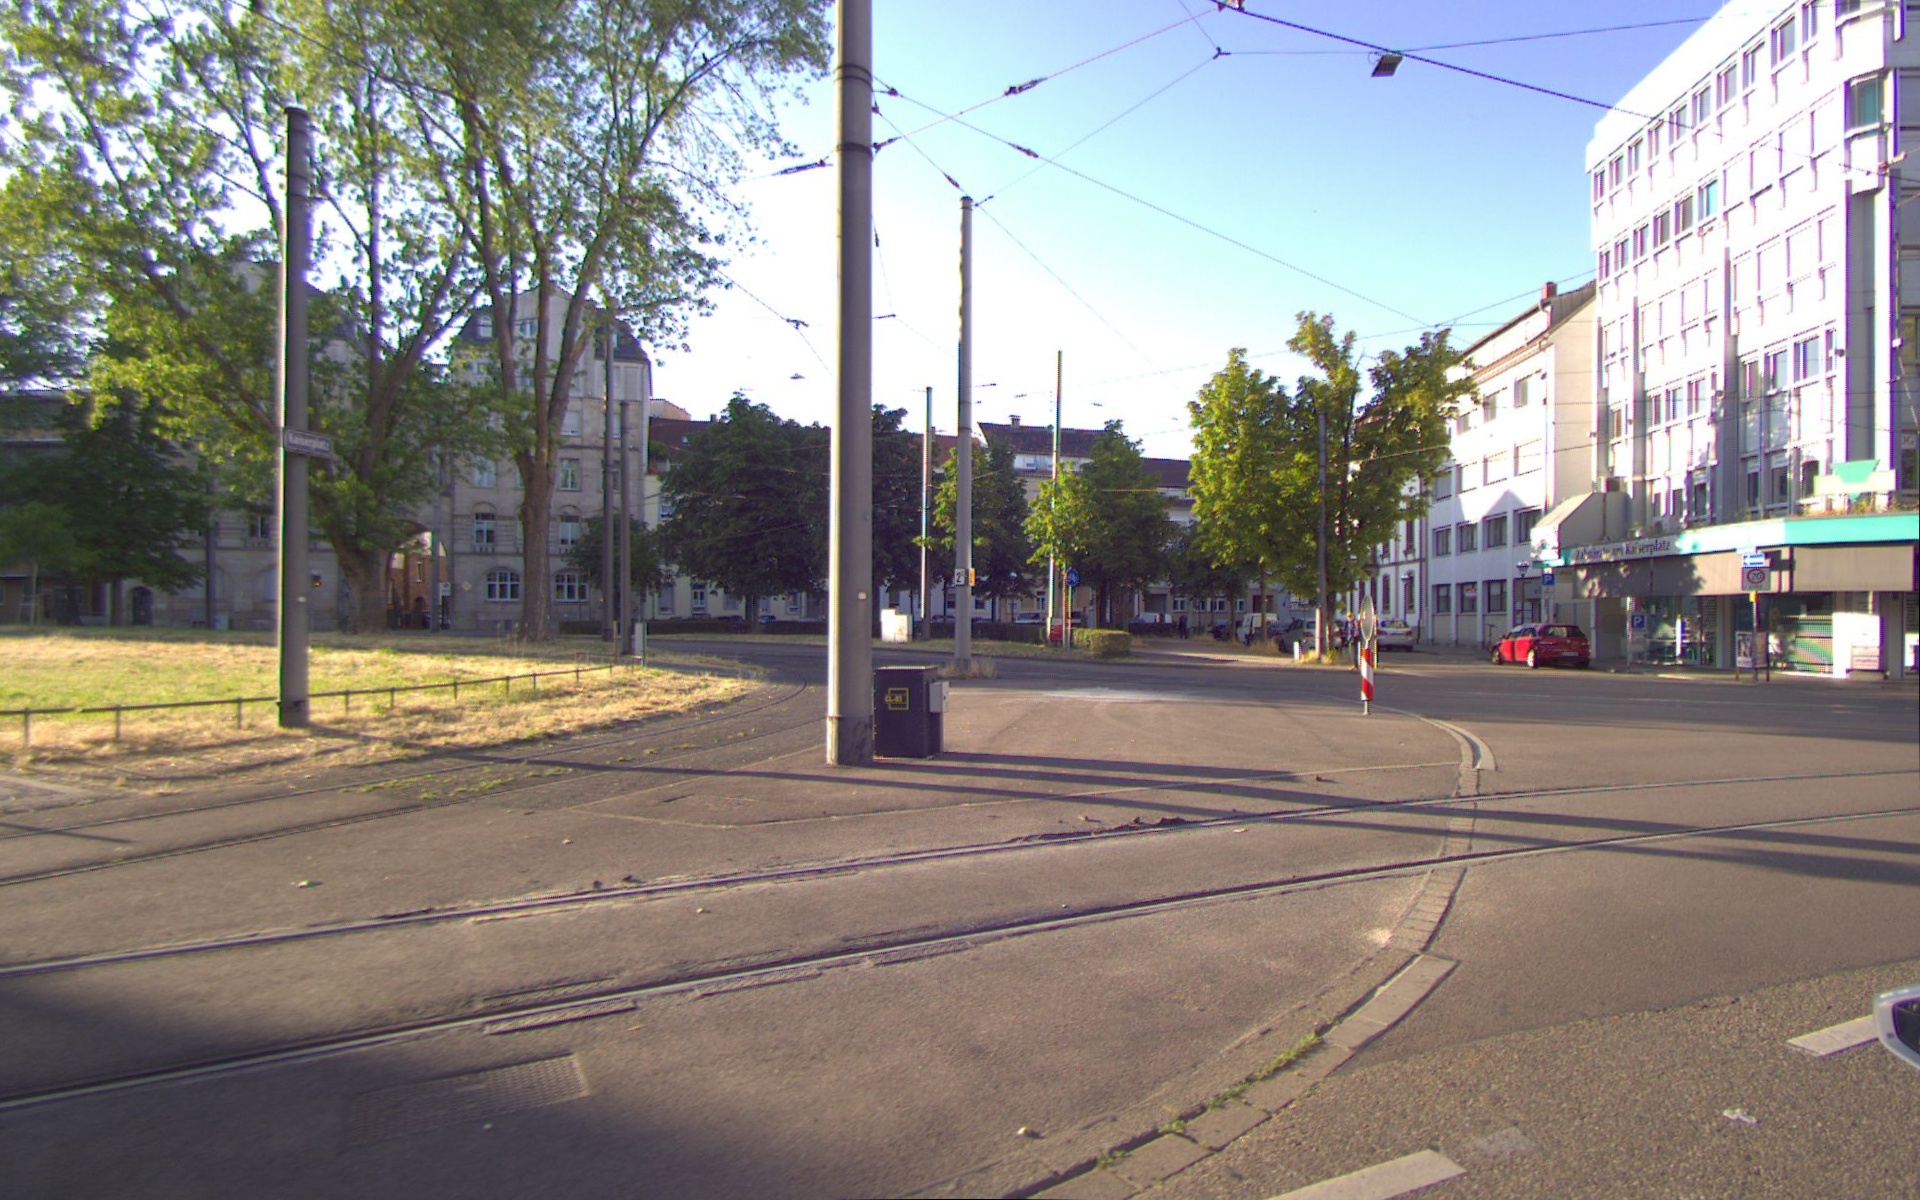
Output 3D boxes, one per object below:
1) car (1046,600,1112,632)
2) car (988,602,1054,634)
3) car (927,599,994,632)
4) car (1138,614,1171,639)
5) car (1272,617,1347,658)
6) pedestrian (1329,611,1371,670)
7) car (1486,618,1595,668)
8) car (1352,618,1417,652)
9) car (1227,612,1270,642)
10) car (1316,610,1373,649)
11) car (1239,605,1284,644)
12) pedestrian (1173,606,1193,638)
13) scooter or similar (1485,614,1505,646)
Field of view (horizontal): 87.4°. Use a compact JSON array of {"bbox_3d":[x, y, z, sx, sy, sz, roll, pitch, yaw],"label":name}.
[{"bbox_3d":[7.909,1.061,66.944,3.932,2.040,1.994,1,0,-14],"label":"car"},{"bbox_3d":[3.984,1.167,65.876,3.932,2.040,1.994,1,0,-14],"label":"car"},{"bbox_3d":[-0.001,0.984,64.763,3.932,2.040,1.994,1,0,-14],"label":"car"},{"bbox_3d":[16.375,2.179,84.747,1.960,2.040,4.000,1,-1,0],"label":"car"},{"bbox_3d":[15.639,1.634,45.106,1.960,1.706,4.000,1,-1,0],"label":"car"},{"bbox_3d":[11.765,1.203,30.269,1.140,1.725,0.907,0,-1,22],"label":"pedestrian"},{"bbox_3d":[19.468,1.386,33.864,1.986,1.504,4.002,1,0,11],"label":"car"},{"bbox_3d":[20.671,1.677,49.025,1.959,1.550,4.003,1,-1,8],"label":"car"},{"bbox_3d":[17.548,1.623,61.248,1.959,1.751,4.002,1,0,7],"label":"car"},{"bbox_3d":[21.219,1.575,55.551,1.959,2.040,4.002,1,-1,6],"label":"car"},{"bbox_3d":[16.674,1.319,55.727,1.959,2.040,4.003,1,0,10],"label":"car"},{"bbox_3d":[14.278,1.411,64.307,1.097,2.040,1.466,1,0,6],"label":"pedestrian"},{"bbox_3d":[24.380,1.337,45.769,0.742,1.417,1.924,1,0,30],"label":"scooter or similar"}]
